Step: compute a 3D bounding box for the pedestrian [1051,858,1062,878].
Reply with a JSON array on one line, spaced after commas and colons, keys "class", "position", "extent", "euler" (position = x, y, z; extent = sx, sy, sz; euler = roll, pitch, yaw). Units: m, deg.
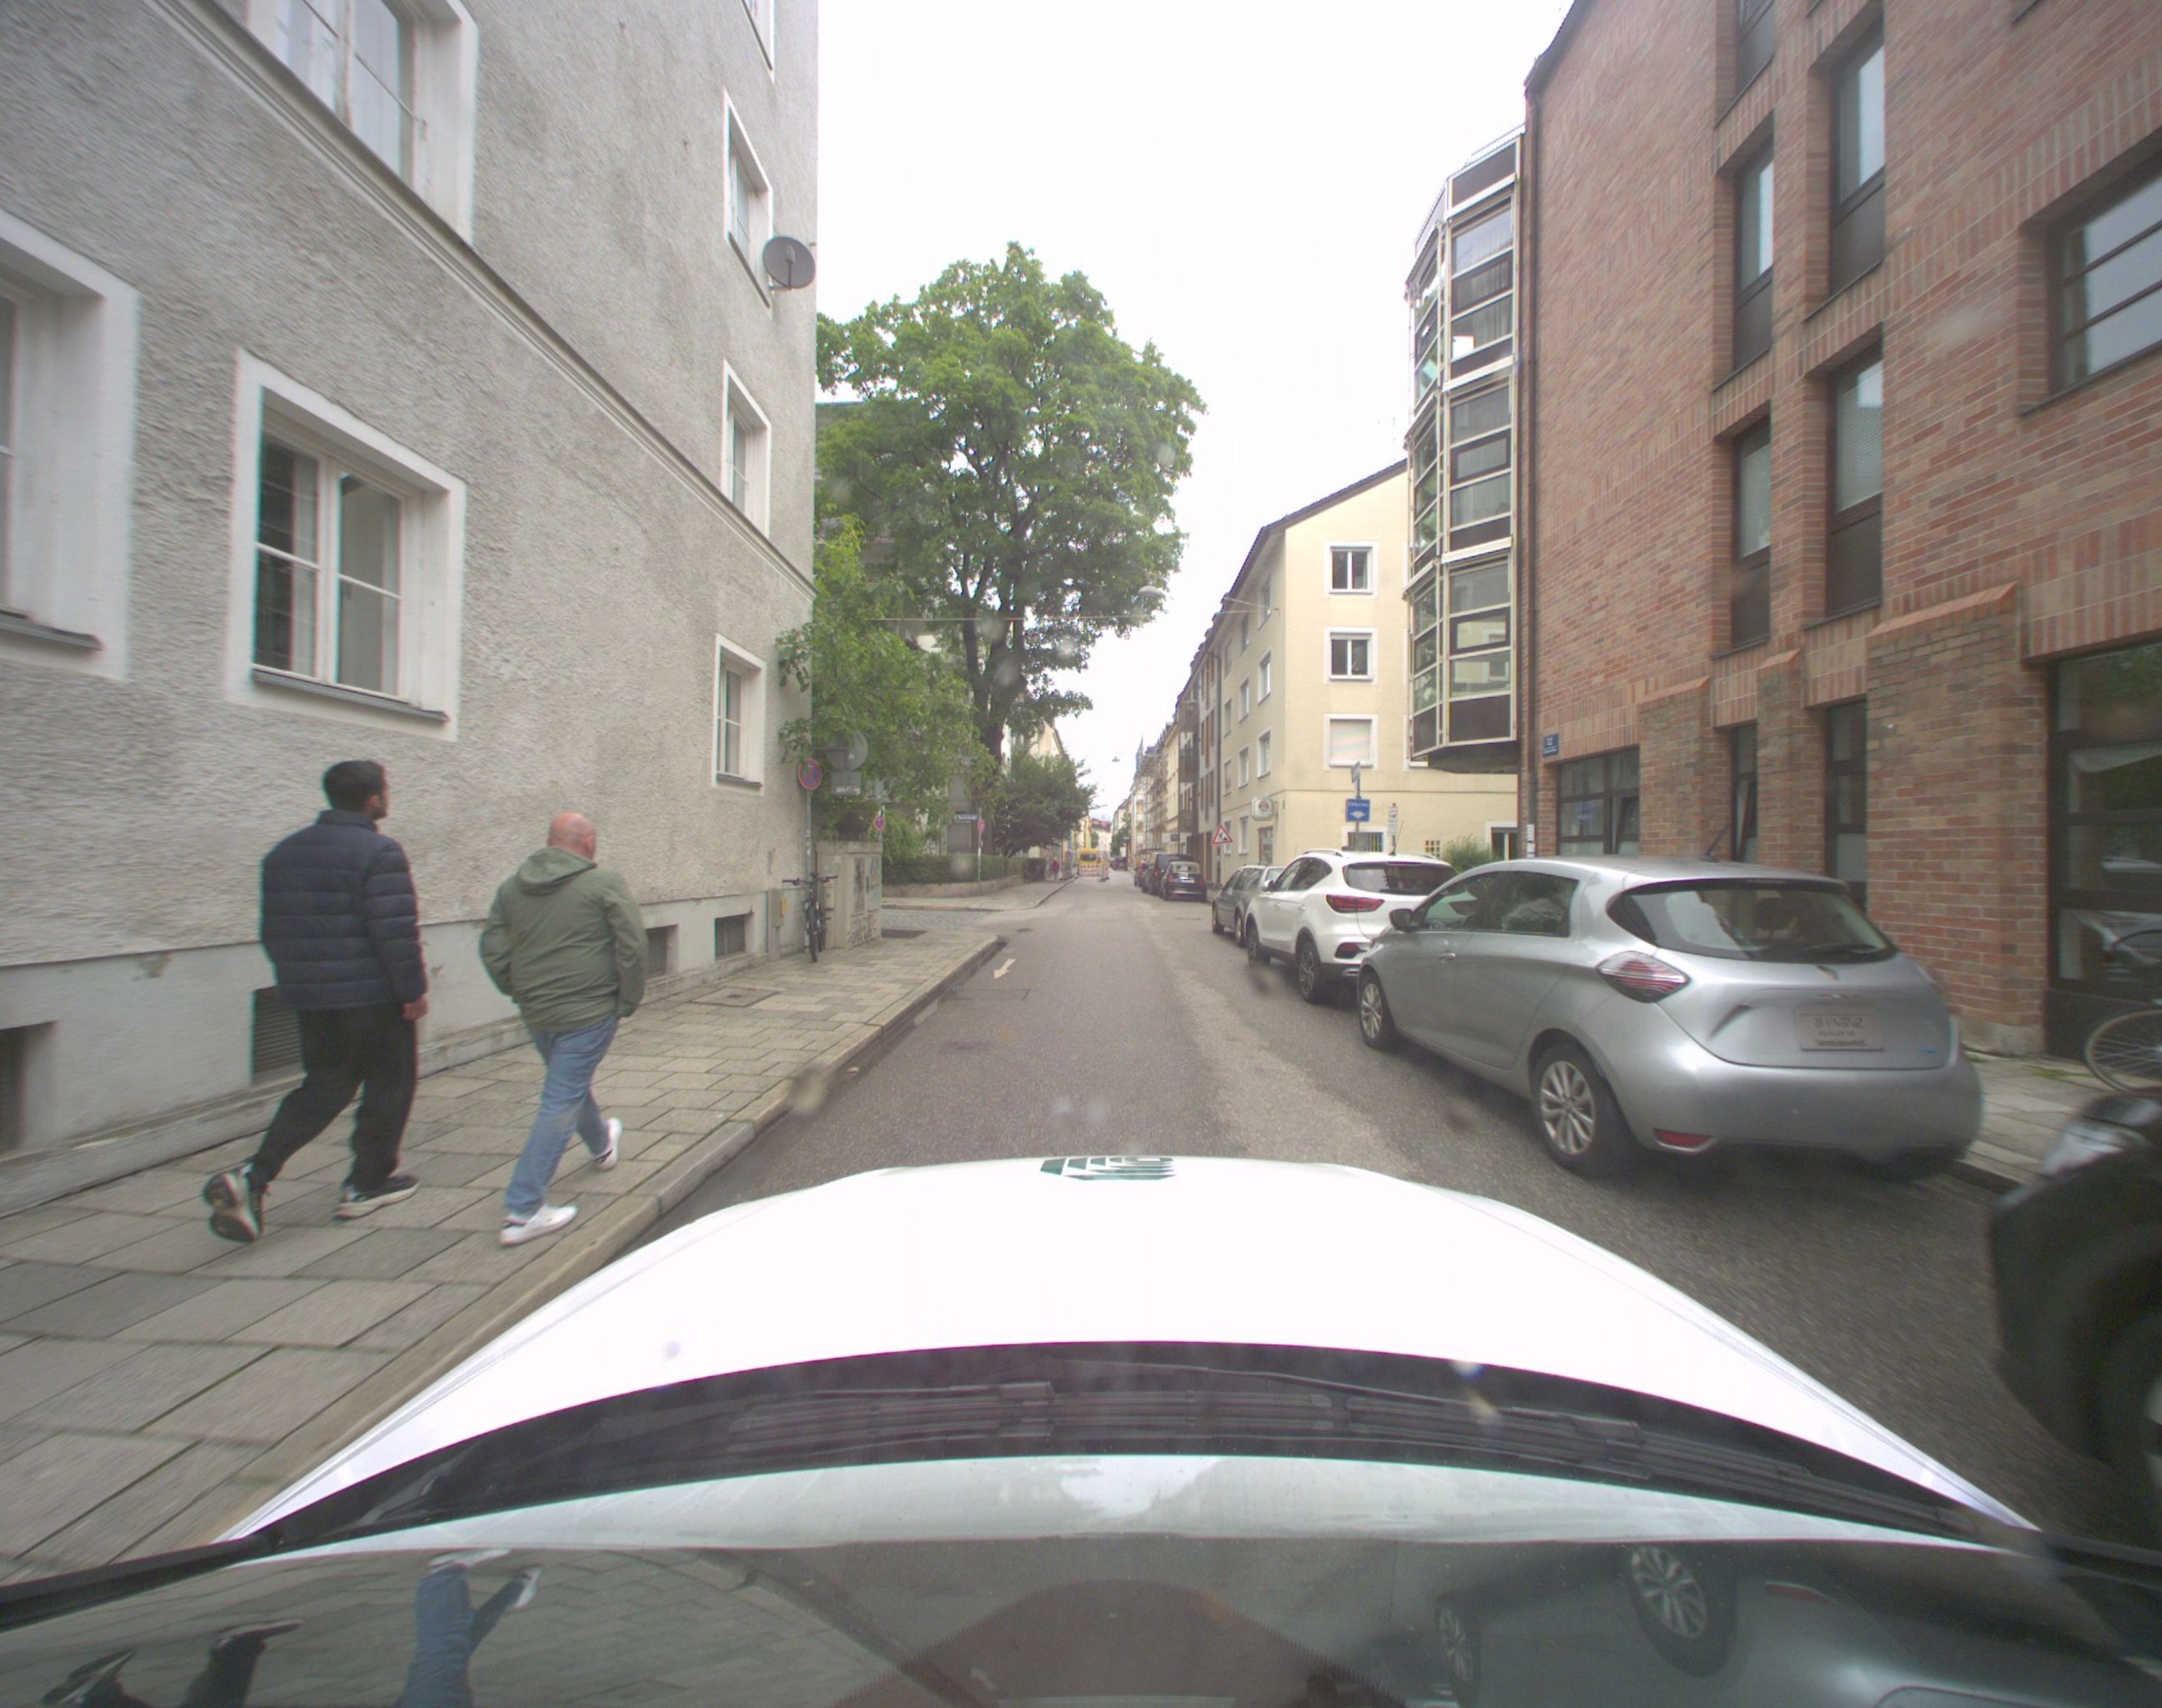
[{"class": "pedestrian", "position": [-1.802, 1.018, 59.178], "extent": [0.753, 1.491, 0.831], "euler": [0, -1, 1]}]

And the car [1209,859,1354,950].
[{"class": "car", "position": [3.570, 0.831, 15.226], "extent": [1.739, 1.445, 3.999], "euler": [1, 0, 0]}]

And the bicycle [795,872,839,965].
[{"class": "bicycle", "position": [-3.495, 0.809, 10.862], "extent": [0.474, 1.111, 1.750], "euler": [1, 0, -16]}]

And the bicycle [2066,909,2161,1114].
[{"class": "bicycle", "position": [6.112, 0.867, 4.099], "extent": [0.557, 1.079, 1.472], "euler": [1, 0, 2]}]

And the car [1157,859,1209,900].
[{"class": "car", "position": [3.954, 0.958, 32.057], "extent": [1.619, 1.487, 3.809], "euler": [1, 0, 2]}]

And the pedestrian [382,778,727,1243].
[{"class": "pedestrian", "position": [-2.115, 0.572, 3.423], "extent": [0.750, 1.659, 0.906], "euler": [2, -1, 1]}]

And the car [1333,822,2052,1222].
[{"class": "car", "position": [3.159, 0.717, 5.333], "extent": [1.716, 1.635, 3.878], "euler": [0, -1, -2]}]

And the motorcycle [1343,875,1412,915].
[{"class": "motorcycle", "position": [8.977, 1.218, 24.712], "extent": [0.626, 1.108, 1.905], "euler": [1, -1, -41]}]

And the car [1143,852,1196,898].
[{"class": "car", "position": [3.894, 0.894, 36.421], "extent": [1.796, 1.820, 3.998], "euler": [4, 0, -1]}]

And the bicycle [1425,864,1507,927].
[{"class": "bicycle", "position": [7.569, 0.791, 16.068], "extent": [0.380, 1.159, 1.539], "euler": [1, -1, -27]}]

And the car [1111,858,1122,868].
[{"class": "car", "position": [6.226, 1.575, 142.503], "extent": [1.794, 1.614, 4.001], "euler": [1, 0, 2]}]

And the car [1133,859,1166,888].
[{"class": "car", "position": [4.017, 1.135, 48.303], "extent": [1.630, 1.515, 3.829], "euler": [4, 0, 1]}]

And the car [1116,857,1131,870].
[{"class": "car", "position": [5.905, 1.346, 114.166], "extent": [1.796, 1.712, 3.825], "euler": [4, 0, 0]}]

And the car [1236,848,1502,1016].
[{"class": "car", "position": [3.198, 0.767, 10.002], "extent": [1.743, 1.630, 4.194], "euler": [0, 0, -1]}]

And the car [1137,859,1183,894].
[{"class": "car", "position": [3.870, 1.073, 40.515], "extent": [1.795, 1.568, 4.000], "euler": [4, 0, 0]}]

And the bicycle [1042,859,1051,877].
[{"class": "bicycle", "position": [-2.659, 1.087, 63.087], "extent": [0.512, 1.418, 1.934], "euler": [0, -1, 1]}]

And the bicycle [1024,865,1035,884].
[{"class": "bicycle", "position": [-2.822, 1.109, 44.741], "extent": [0.413, 1.020, 1.854], "euler": [0, -1, 1]}]

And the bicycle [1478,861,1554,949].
[{"class": "bicycle", "position": [6.684, 0.756, 12.593], "extent": [0.377, 1.276, 1.553], "euler": [0, -1, 2]}]

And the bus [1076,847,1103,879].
[{"class": "bus", "position": [0.867, 0.939, 82.225], "extent": [2.583, 3.102, 6.307], "euler": [0, -1, 2]}]

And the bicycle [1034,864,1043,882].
[{"class": "bicycle", "position": [-2.611, 1.165, 50.277], "extent": [0.444, 1.073, 2.467], "euler": [0, -1, 0]}]

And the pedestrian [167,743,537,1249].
[{"class": "pedestrian", "position": [-2.784, 0.490, 3.221], "extent": [0.610, 1.713, 0.823], "euler": [2, -1, 1]}]
